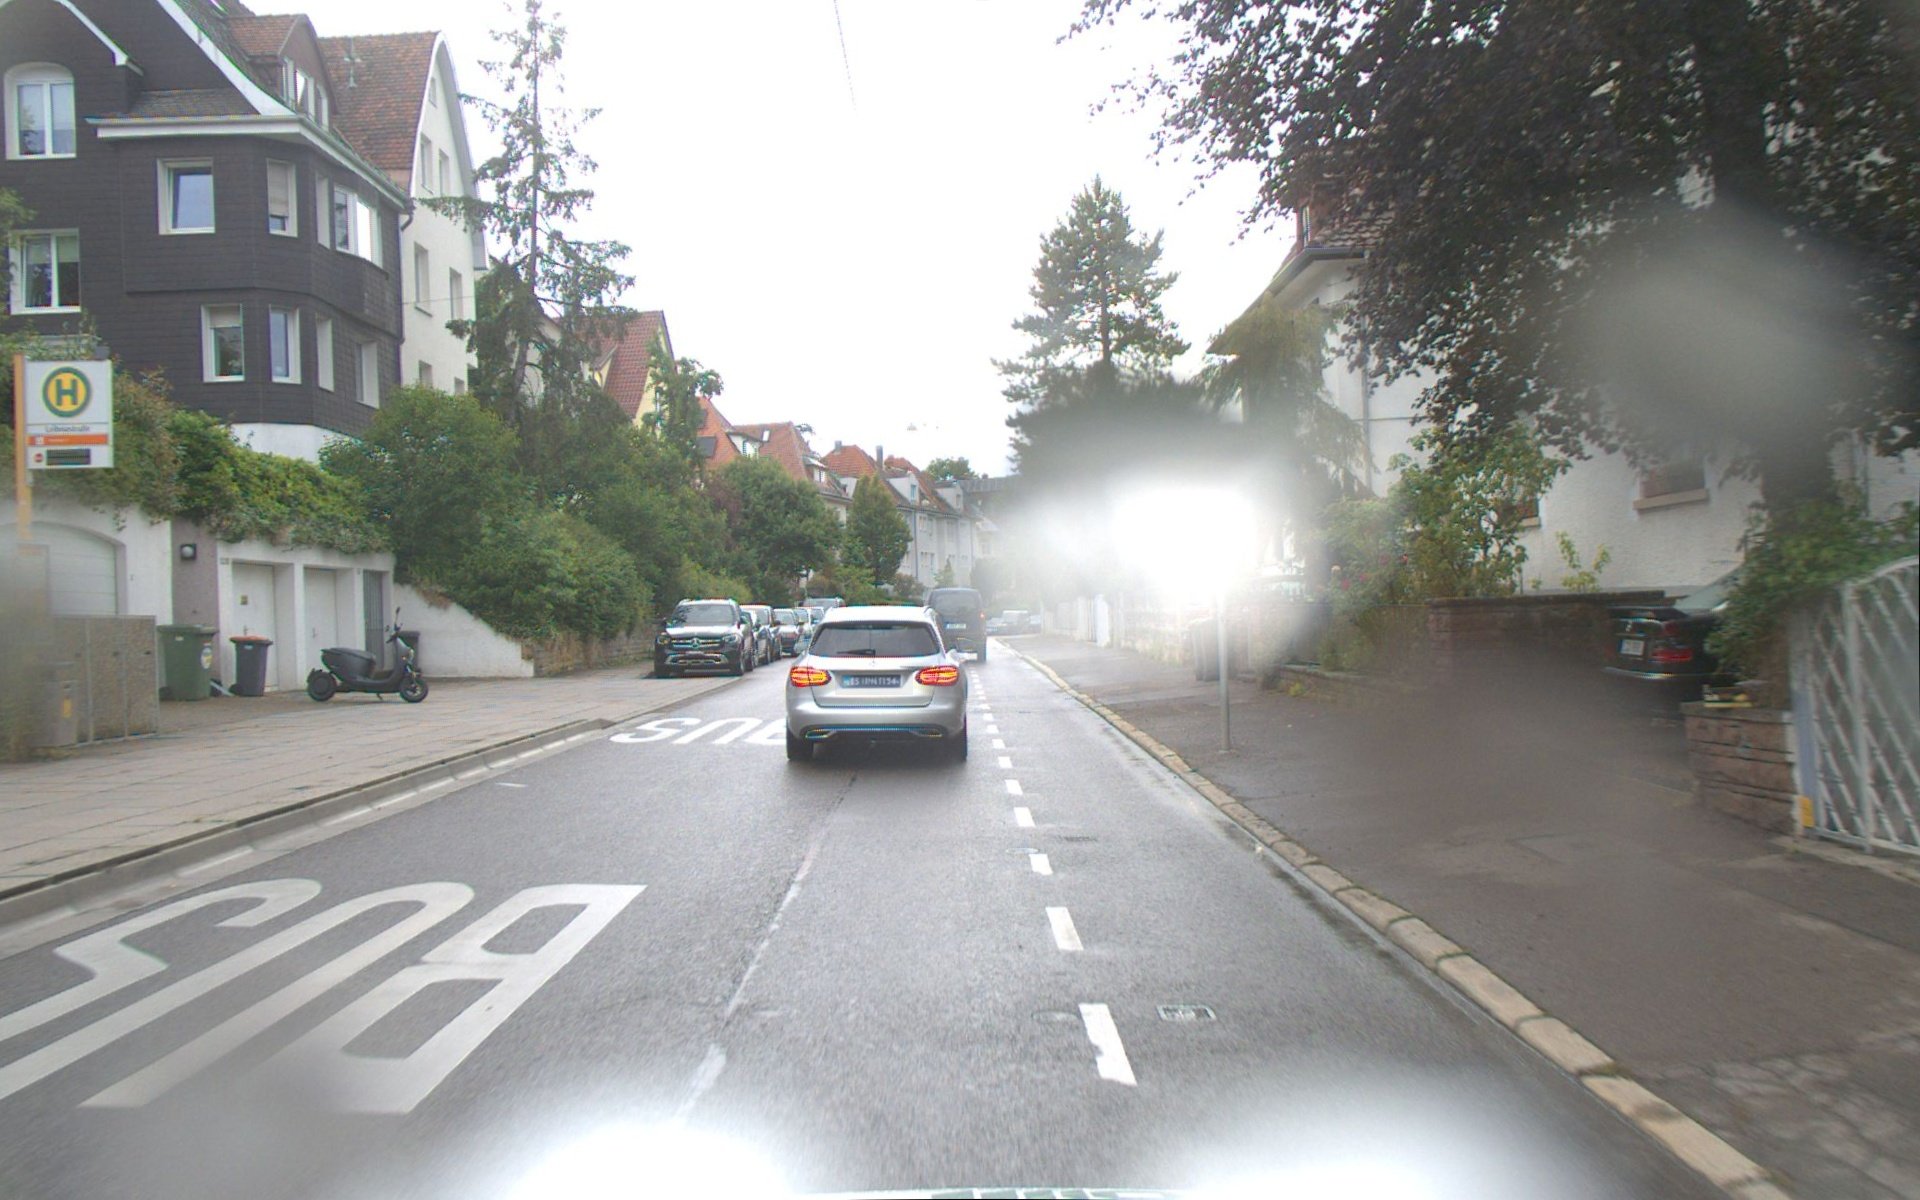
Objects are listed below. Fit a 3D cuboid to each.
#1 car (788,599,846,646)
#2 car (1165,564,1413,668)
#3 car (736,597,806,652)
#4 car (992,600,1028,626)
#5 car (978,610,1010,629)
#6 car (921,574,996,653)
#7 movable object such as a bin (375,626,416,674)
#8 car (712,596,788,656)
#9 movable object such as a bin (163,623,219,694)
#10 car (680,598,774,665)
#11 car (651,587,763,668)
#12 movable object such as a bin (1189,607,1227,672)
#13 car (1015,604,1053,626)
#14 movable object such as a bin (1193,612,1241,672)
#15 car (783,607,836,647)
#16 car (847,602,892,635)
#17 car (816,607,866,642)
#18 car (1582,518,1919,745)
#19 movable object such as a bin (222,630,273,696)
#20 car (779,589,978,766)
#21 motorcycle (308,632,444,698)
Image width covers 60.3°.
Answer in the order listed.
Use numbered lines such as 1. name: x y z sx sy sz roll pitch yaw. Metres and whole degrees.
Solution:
1. car: -6.032 0.923 70.325 1.952 1.911 5.357 0 0 1
2. car: 5.666 0.243 28.818 3.906 1.668 1.918 -1 1 -1
3. car: -5.782 0.722 51.039 1.720 1.472 4.416 -1 2 -1
4. car: 4.209 1.078 138.307 1.790 2.092 5.012 -1 -1 17
5. car: 2.753 1.562 133.218 1.608 1.442 4.616 -1 0 14
6. car: -0.083 0.368 42.974 1.805 1.937 3.998 0 -1 -2
7. movable object such as a bin: -11.252 0.990 32.990 0.480 0.904 0.617 0 2 45
8. car: -5.766 0.693 45.831 1.662 1.568 3.813 -1 0 -1
9. movable object such as a bin: -11.010 0.831 23.690 0.562 0.970 0.512 -1 1 -5
10. car: -5.771 0.749 41.404 1.855 1.472 3.813 -1 2 -1
11. car: -5.484 0.566 36.346 1.855 1.651 4.378 -1 0 -1
12. movable object such as a bin: 3.851 0.602 25.656 0.484 0.972 0.503 -1 1 -3
13. car: 6.501 1.314 145.039 1.952 1.718 4.678 0 2 20
14. movable object such as a bin: 3.899 0.636 25.111 0.638 0.870 0.503 -1 1 -3
15. car: -5.802 1.031 64.187 1.659 1.472 3.813 -1 0 0
16. car: -5.102 1.034 93.607 1.952 1.732 4.741 1 0 4
17. car: -5.941 1.199 82.918 1.952 1.608 4.762 1 0 2
18. car: 7.020 0.243 12.250 4.060 1.512 1.977 -1 -3 3
19. movable object such as a bin: -11.031 0.972 25.612 0.562 0.970 0.512 -1 1 -5
20. car: -0.835 0.695 16.882 1.780 1.584 3.998 0 0 -3
21. motorcycle: -8.601 0.949 24.397 1.757 0.919 0.603 1 0 -1
